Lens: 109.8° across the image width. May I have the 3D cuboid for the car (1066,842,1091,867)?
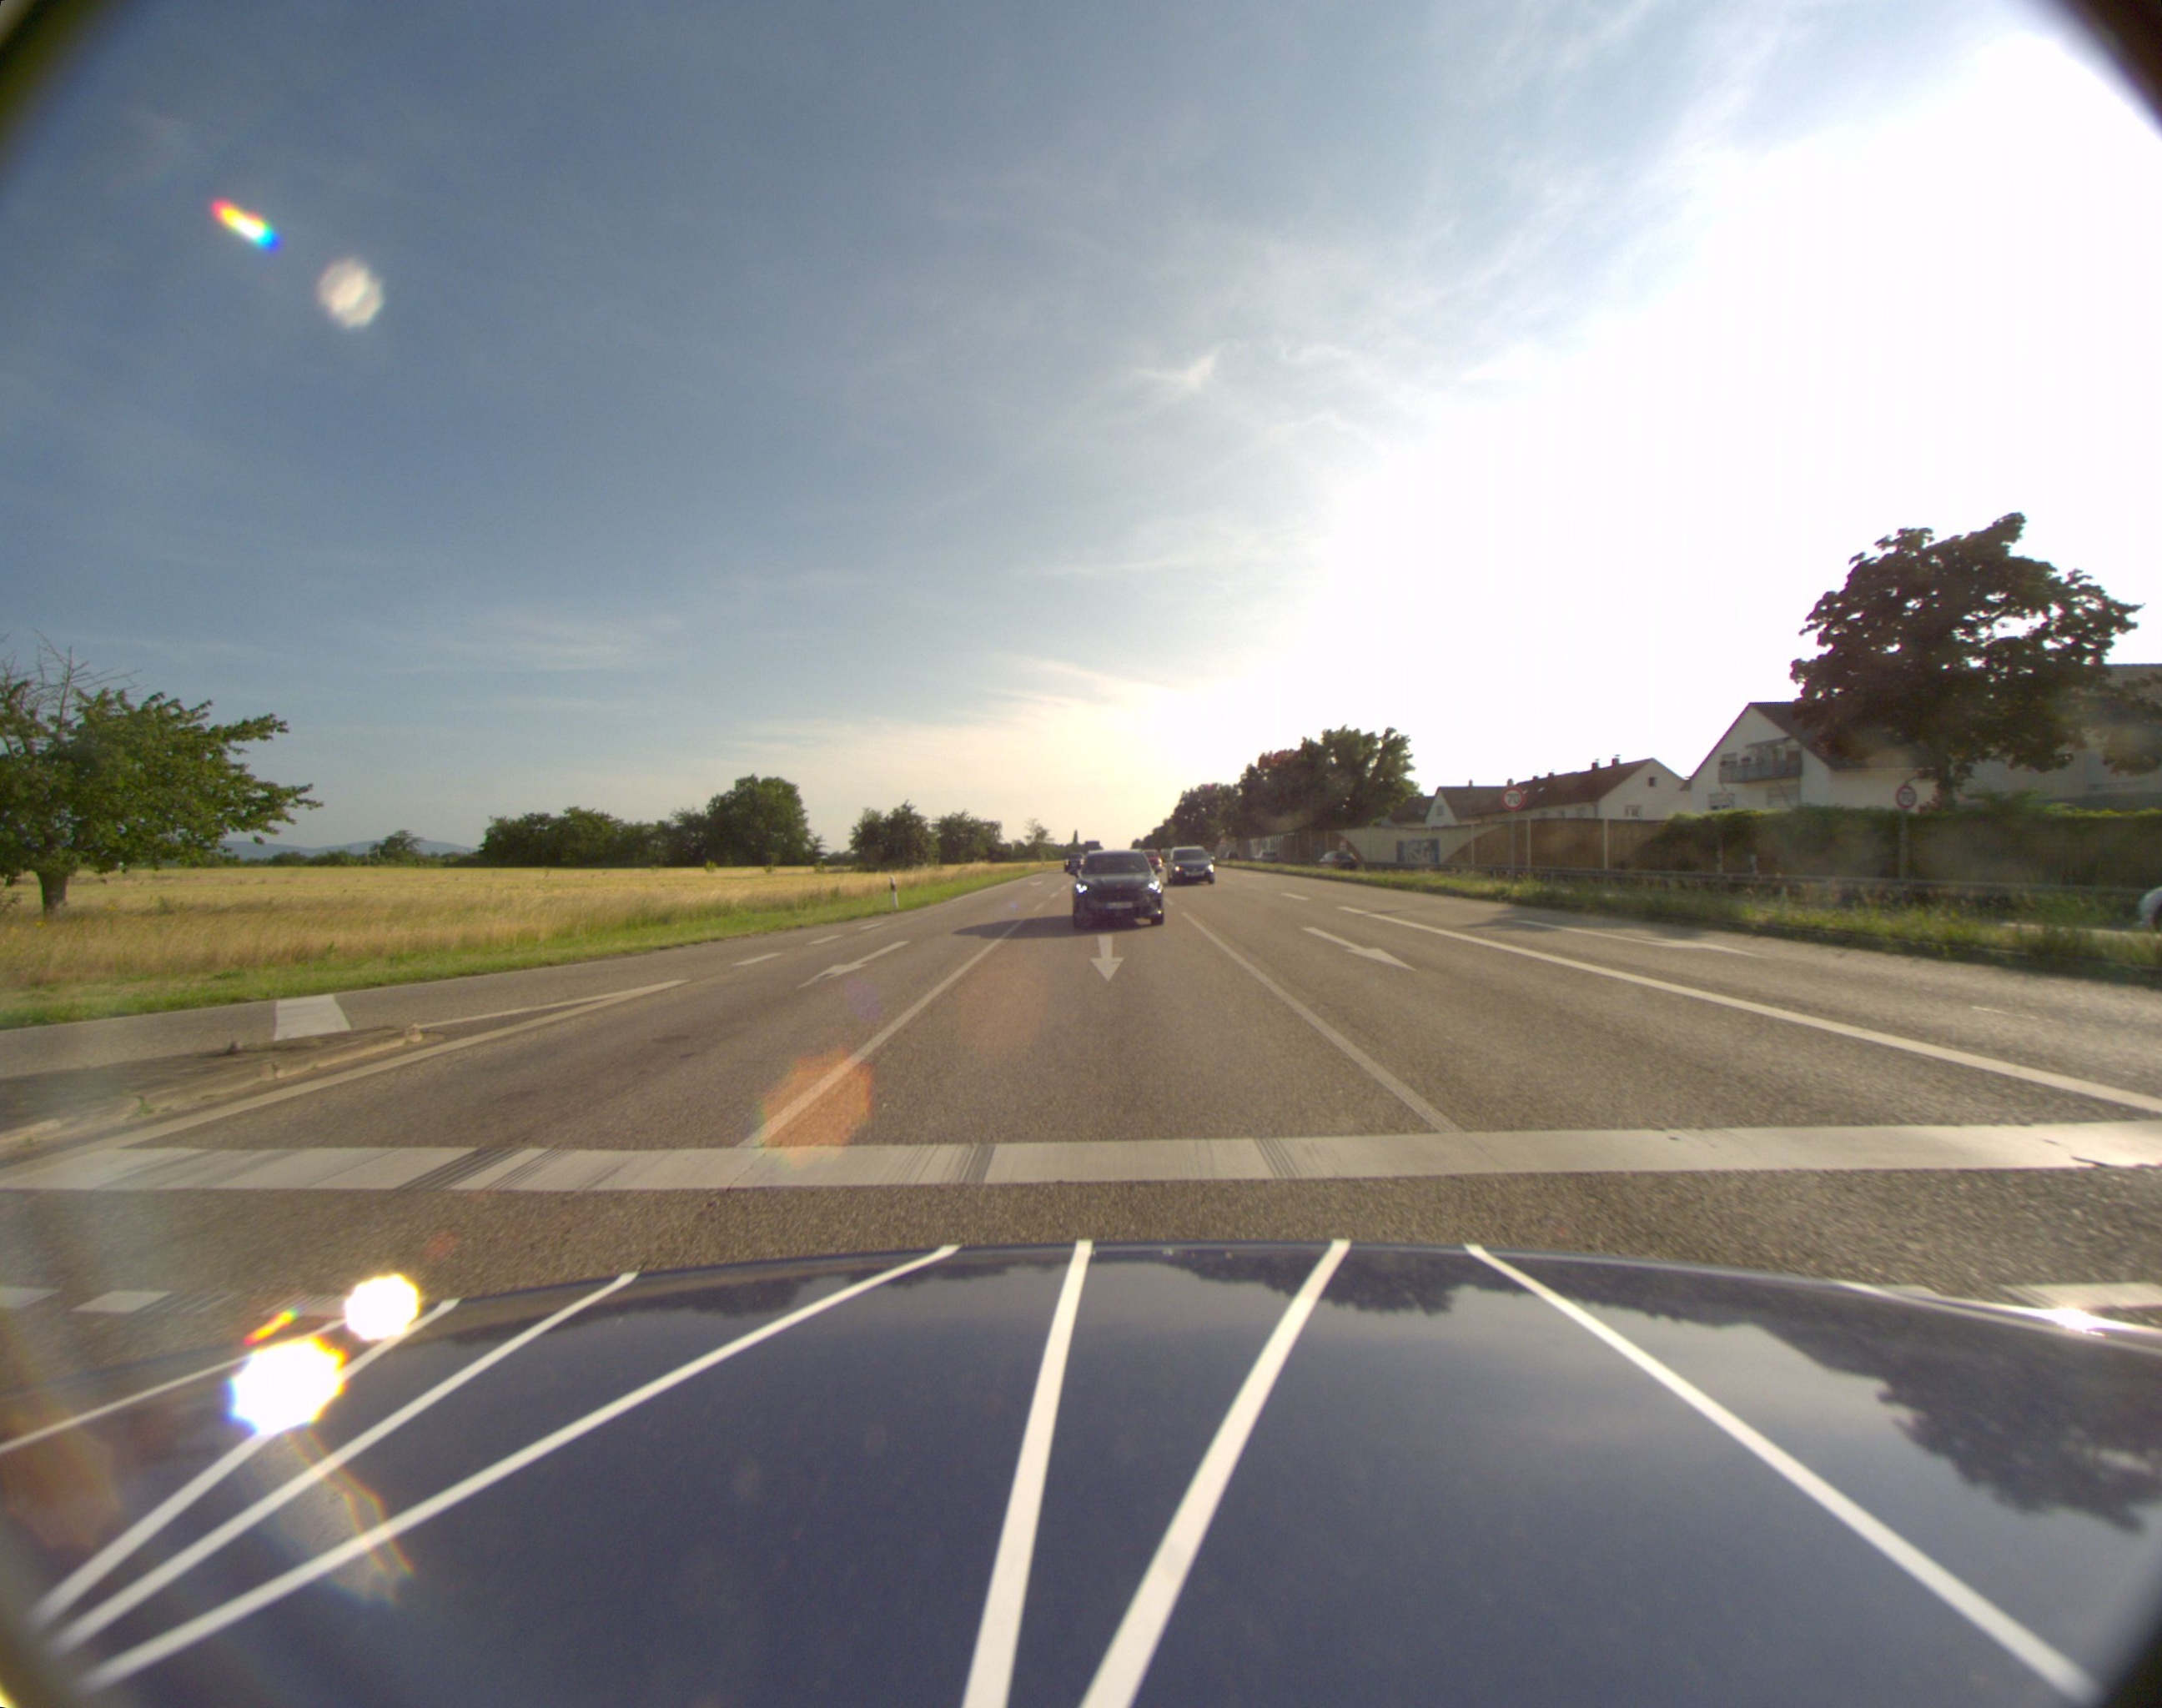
[{"bbox_3d":[-0.237,0.008,64.773,1.999,2.002,3.999,-2,1,-1],"label":"car"}]

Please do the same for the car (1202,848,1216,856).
[{"bbox_3d":[21.049,-0.355,125.096,1.542,1.353,3.498,1,1,-1],"label":"car"}]

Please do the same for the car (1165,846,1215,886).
[{"bbox_3d":[4.876,0.493,34.434,1.777,1.612,4.682,-1,1,3],"label":"car"}]

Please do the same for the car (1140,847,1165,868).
[{"bbox_3d":[5.717,0.279,61.103,1.748,1.537,4.000,-2,1,2],"label":"car"}]

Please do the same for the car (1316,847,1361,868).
[{"bbox_3d":[18.693,0.201,55.331,1.793,1.375,4.554,-2,1,1],"label":"car"}]

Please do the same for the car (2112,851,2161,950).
[{"bbox_3d":[16.728,0.719,9.347,1.758,1.453,4.735,1,1,3],"label":"car"}]

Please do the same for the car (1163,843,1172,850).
[{"bbox_3d":[19.638,-1.781,173.286,1.685,1.565,3.818,-2,1,2],"label":"car"}]

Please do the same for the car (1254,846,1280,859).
[{"bbox_3d":[19.687,-0.157,80.532,1.739,1.346,3.999,-2,1,-1],"label":"car"}]

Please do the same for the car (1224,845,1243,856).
[{"bbox_3d":[20.852,-0.474,103.931,1.868,1.345,3.775,1,1,3],"label":"car"}]

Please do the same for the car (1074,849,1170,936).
[{"bbox_3d":[0.888,0.728,16.770,1.790,1.594,4.340,-2,1,3],"label":"car"}]

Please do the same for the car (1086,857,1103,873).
[{"bbox_3d":[1.507,1.199,84.151,1.686,1.565,3.817,-2,1,-1],"label":"car"}]
